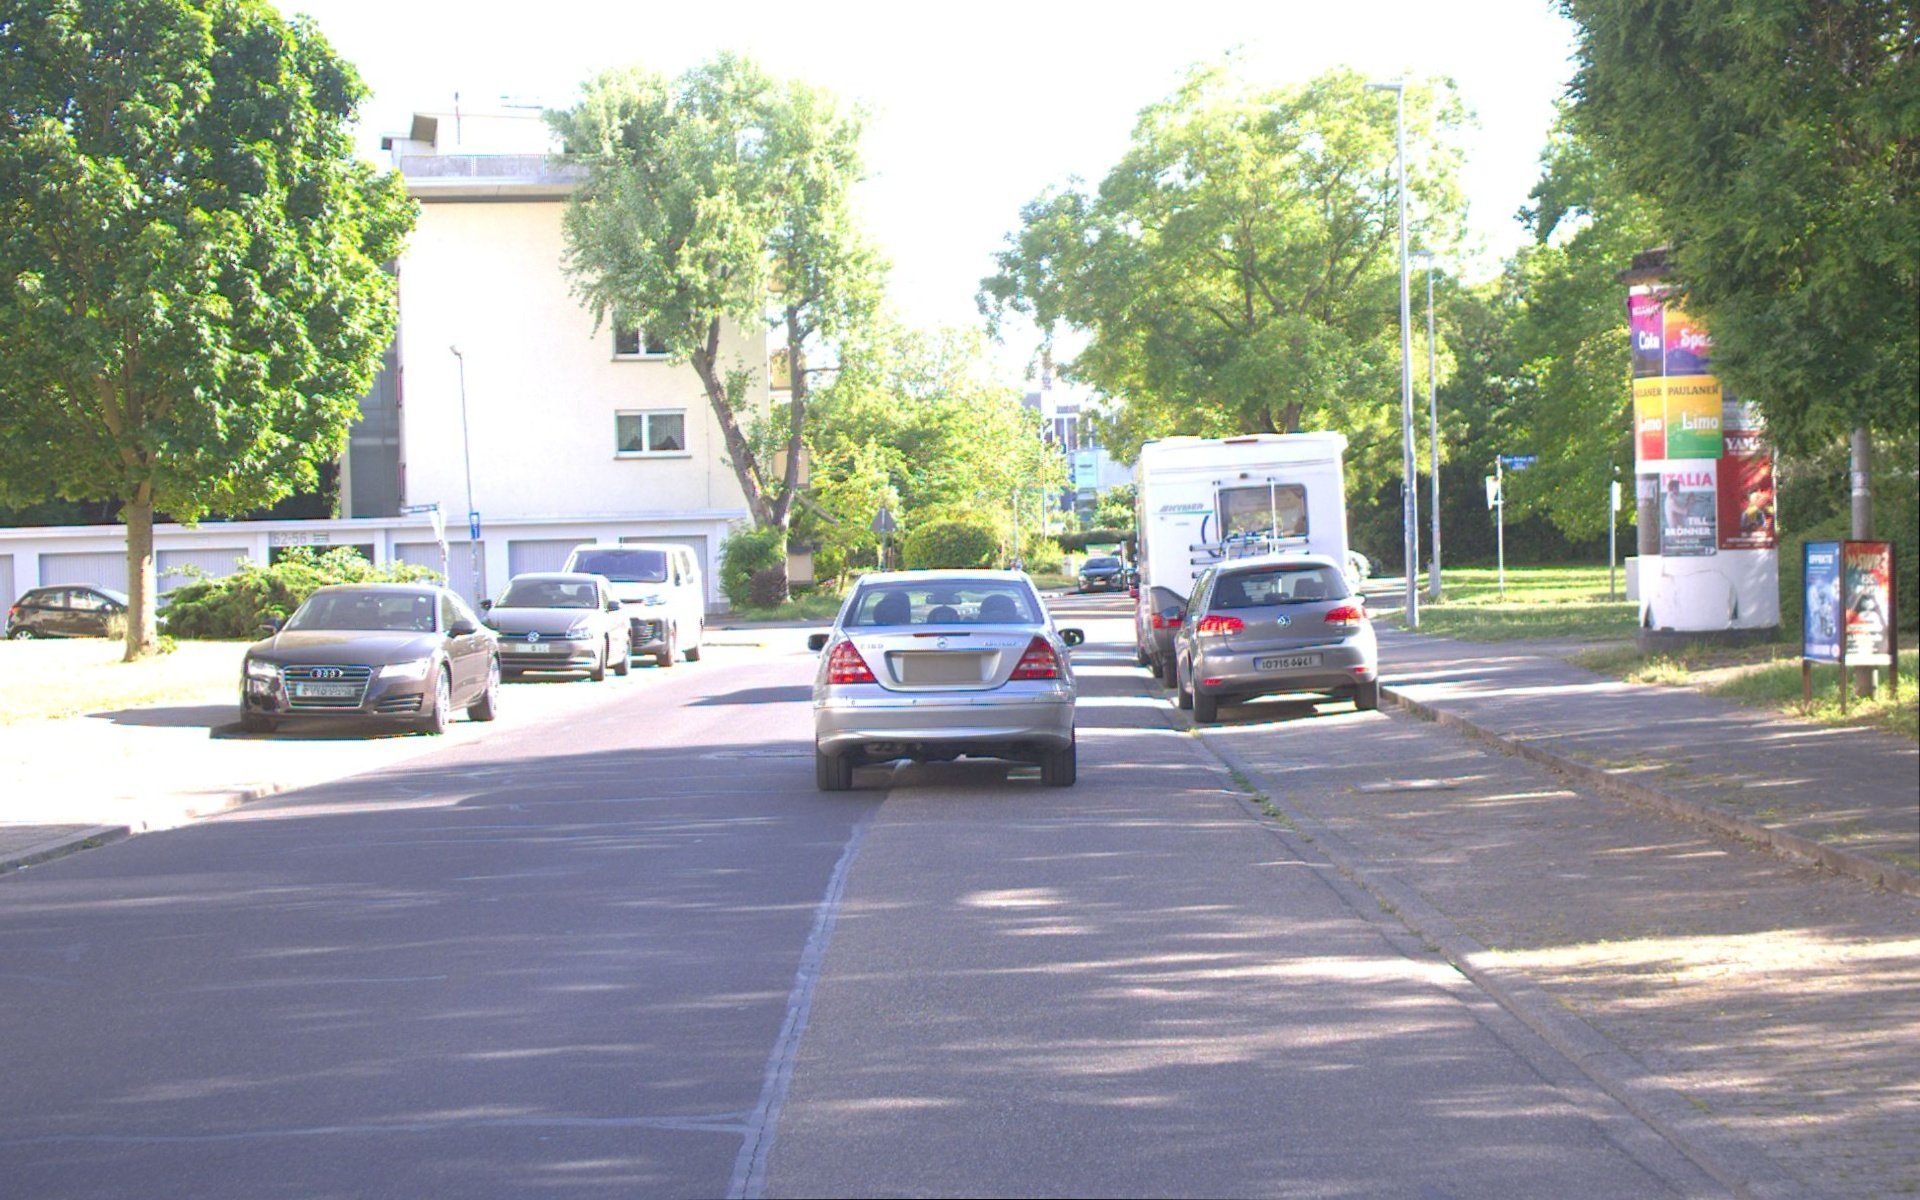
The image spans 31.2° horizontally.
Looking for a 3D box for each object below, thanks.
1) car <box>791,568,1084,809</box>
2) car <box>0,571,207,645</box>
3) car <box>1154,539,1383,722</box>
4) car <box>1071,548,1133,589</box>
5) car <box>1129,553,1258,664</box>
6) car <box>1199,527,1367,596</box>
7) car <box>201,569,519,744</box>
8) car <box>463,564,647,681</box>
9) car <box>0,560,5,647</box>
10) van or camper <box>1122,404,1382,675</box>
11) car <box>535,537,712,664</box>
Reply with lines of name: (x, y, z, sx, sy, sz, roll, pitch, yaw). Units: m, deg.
car: (-0.078, 0.542, 22.946, 1.733, 1.429, 3.438, -2, 0, 3)
car: (-19.120, 0.170, 75.762, 4.444, 1.456, 2.042, -2, 1, 9)
car: (2.929, 0.237, 33.442, 1.720, 1.519, 4.429, -5, 1, 0)
car: (5.744, -1.267, 138.450, 1.914, 1.485, 3.835, -4, 0, 10)
car: (3.315, 0.091, 49.402, 1.691, 1.469, 4.000, -2, 1, 2)
car: (9.869, -1.183, 105.338, 4.884, 1.917, 2.000, -2, 1, 0)
car: (-5.792, 0.492, 33.881, 2.035, 1.487, 5.256, -2, 1, 2)
car: (-5.486, 0.274, 47.041, 1.833, 1.513, 4.221, 0, 1, 3)
car: (-24.205, 0.180, 76.587, 5.107, 1.944, 2.236, -2, 1, 10)
van or camper: (3.313, -0.717, 40.533, 2.496, 2.835, 6.851, -2, 1, 1)
car: (-5.173, -0.015, 53.567, 2.014, 1.879, 5.190, 0, 1, 3)
